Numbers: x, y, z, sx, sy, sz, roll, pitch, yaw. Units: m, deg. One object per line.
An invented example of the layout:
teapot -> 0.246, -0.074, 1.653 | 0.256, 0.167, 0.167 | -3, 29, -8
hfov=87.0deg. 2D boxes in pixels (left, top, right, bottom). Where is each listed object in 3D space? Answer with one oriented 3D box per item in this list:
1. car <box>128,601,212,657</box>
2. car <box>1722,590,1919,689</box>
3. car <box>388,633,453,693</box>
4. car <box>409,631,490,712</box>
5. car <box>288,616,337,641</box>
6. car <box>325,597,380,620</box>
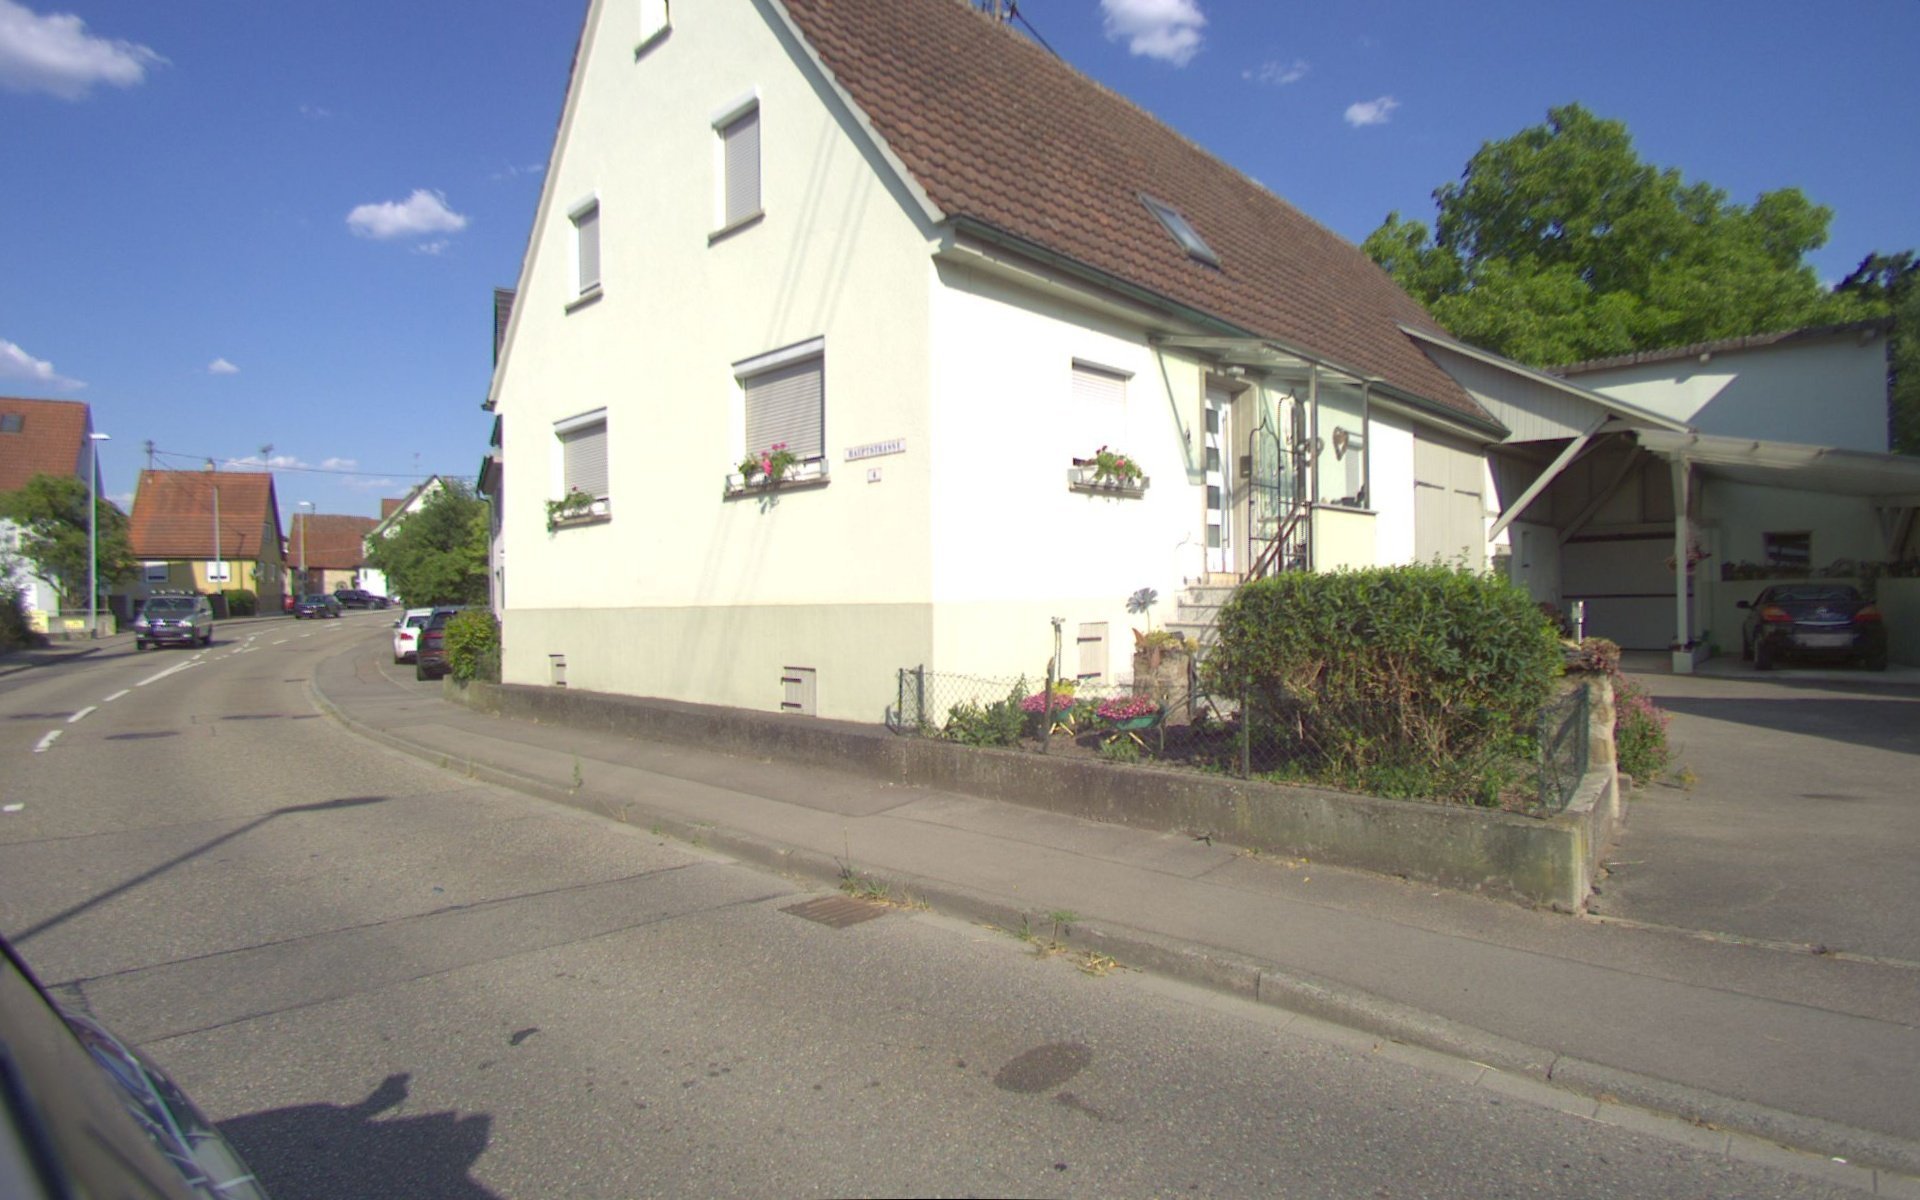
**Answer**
car -> -30.165, 1.093, 38.765 | 1.790, 2.015, 4.836 | 0, -1, -29
car -> 14.246, 0.590, 16.988 | 1.605, 1.423, 3.861 | -2, 0, 27
car -> -15.151, 1.720, 28.522 | 1.487, 1.477, 3.670 | -1, 0, -27
car -> -11.658, 1.557, 23.142 | 1.487, 1.605, 3.670 | -1, 0, -27
car -> -43.578, 1.913, 68.210 | 1.940, 1.669, 4.013 | 1, -1, -21
car -> -54.074, 0.780, 90.153 | 3.930, 2.029, 1.981 | 1, -1, -23
